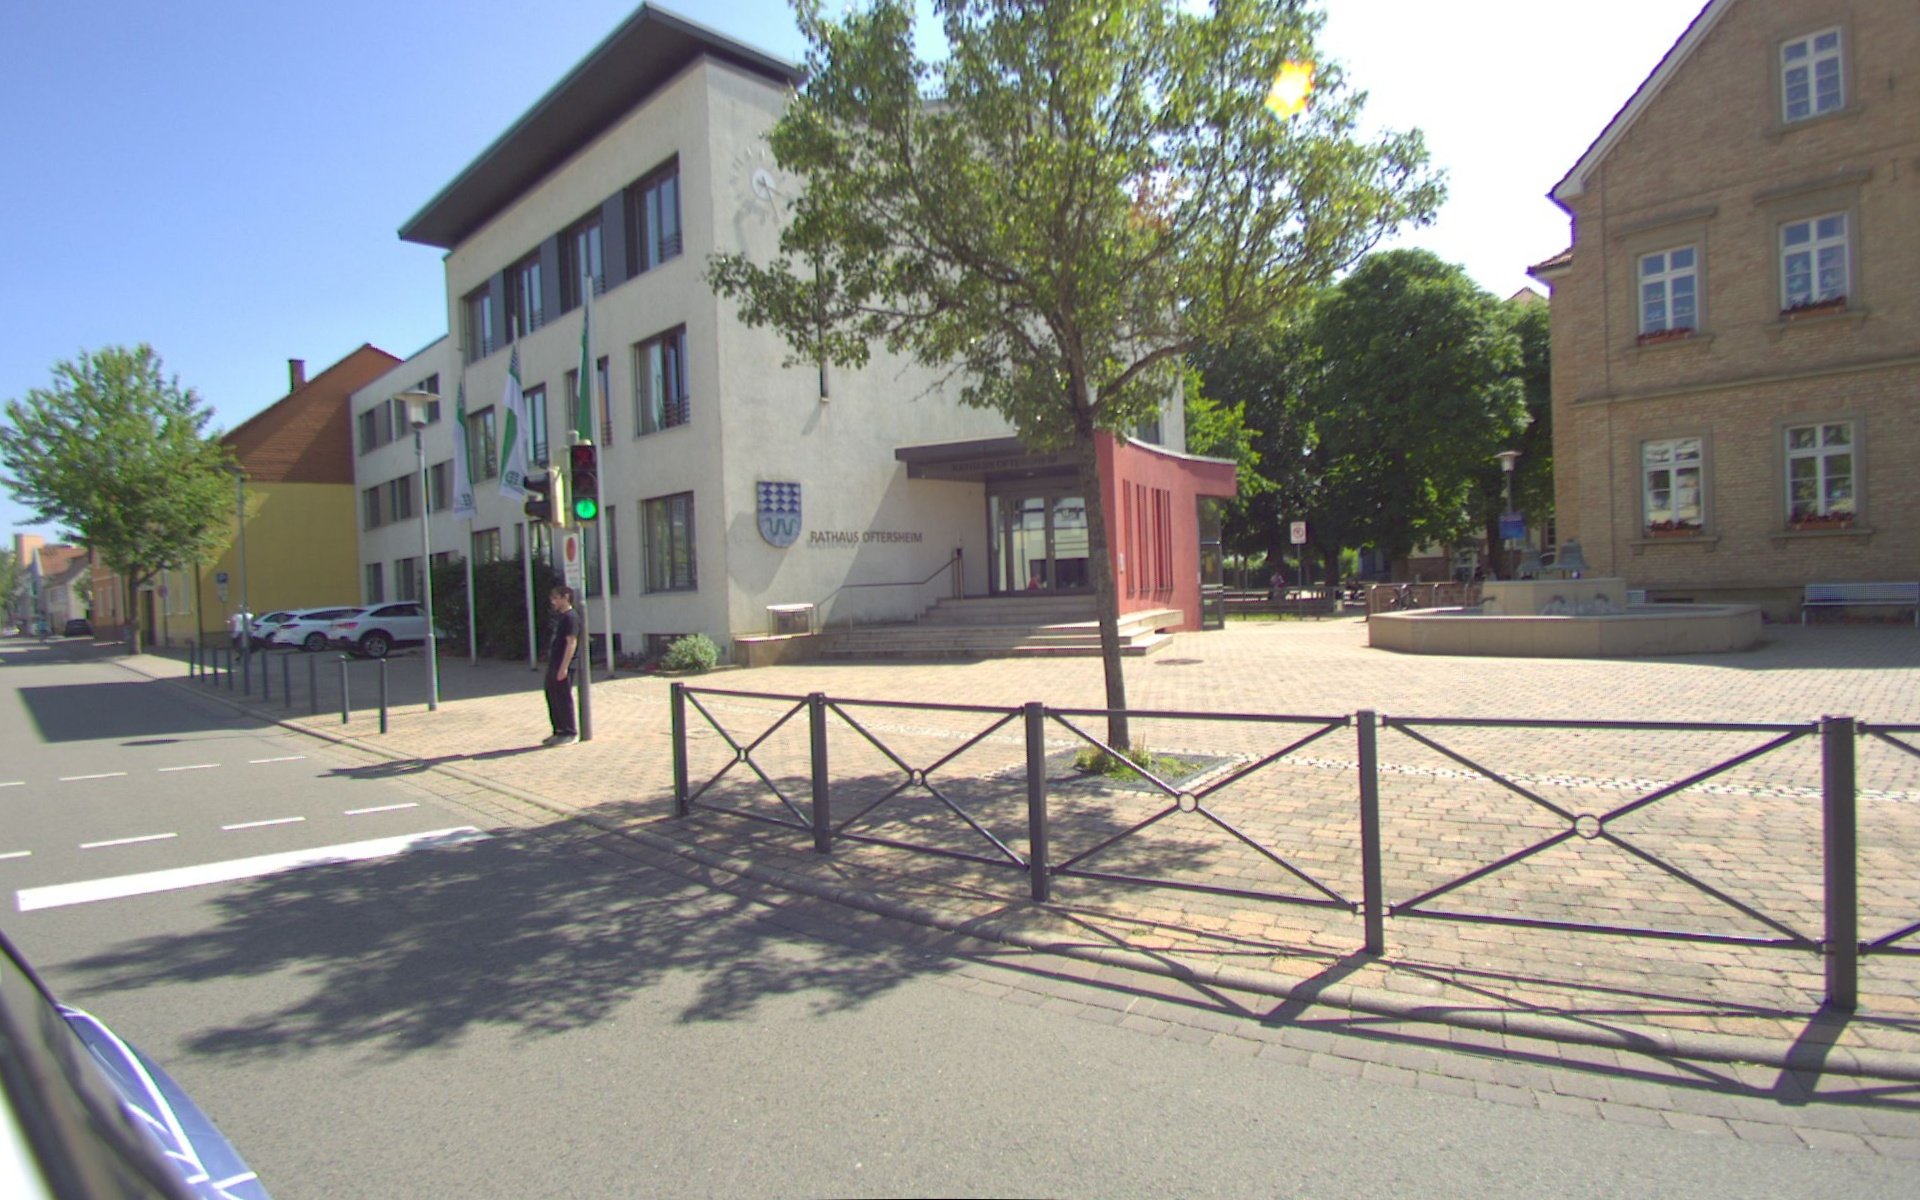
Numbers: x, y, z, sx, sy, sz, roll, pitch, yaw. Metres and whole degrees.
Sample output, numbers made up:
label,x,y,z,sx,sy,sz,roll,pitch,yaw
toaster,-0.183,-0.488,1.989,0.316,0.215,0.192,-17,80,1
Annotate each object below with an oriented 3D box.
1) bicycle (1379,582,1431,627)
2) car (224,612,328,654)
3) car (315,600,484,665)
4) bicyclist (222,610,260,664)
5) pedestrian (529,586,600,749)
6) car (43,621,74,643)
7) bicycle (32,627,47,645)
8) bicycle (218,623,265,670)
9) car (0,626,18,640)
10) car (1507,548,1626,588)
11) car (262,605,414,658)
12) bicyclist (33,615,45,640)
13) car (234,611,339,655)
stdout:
label,x,y,z,sx,sy,sz,roll,pitch,yaw
bicycle,11.716,0.109,26.599,0.581,1.013,1.926,-2,3,44
car,-27.444,1.315,40.661,1.375,1.412,3.213,-2,2,44
car,-16.331,0.915,29.601,1.749,1.559,3.943,-2,2,44
bicyclist,-20.736,1.055,29.195,0.871,1.518,0.706,-2,0,44
pedestrian,-4.099,0.676,10.520,0.541,1.631,0.558,-2,1,-10
car,-78.985,2.813,88.645,1.800,1.829,4.002,-2,0,-45
bicycle,-61.474,2.398,67.568,1.726,1.198,0.586,-1,1,45
bicycle,-20.736,1.327,29.193,1.972,1.261,0.701,-2,0,44
car,-123.586,4.304,131.220,1.971,1.719,4.002,-2,0,-45
car,32.959,-1.707,55.096,5.276,1.952,1.973,-2,0,41
car,-21.889,1.080,35.733,4.264,1.489,1.515,-5,2,-44
bicyclist,-61.611,1.825,67.686,0.551,1.652,0.531,-2,0,45
car,-25.945,1.252,39.034,3.095,1.461,1.644,-4,2,-44
